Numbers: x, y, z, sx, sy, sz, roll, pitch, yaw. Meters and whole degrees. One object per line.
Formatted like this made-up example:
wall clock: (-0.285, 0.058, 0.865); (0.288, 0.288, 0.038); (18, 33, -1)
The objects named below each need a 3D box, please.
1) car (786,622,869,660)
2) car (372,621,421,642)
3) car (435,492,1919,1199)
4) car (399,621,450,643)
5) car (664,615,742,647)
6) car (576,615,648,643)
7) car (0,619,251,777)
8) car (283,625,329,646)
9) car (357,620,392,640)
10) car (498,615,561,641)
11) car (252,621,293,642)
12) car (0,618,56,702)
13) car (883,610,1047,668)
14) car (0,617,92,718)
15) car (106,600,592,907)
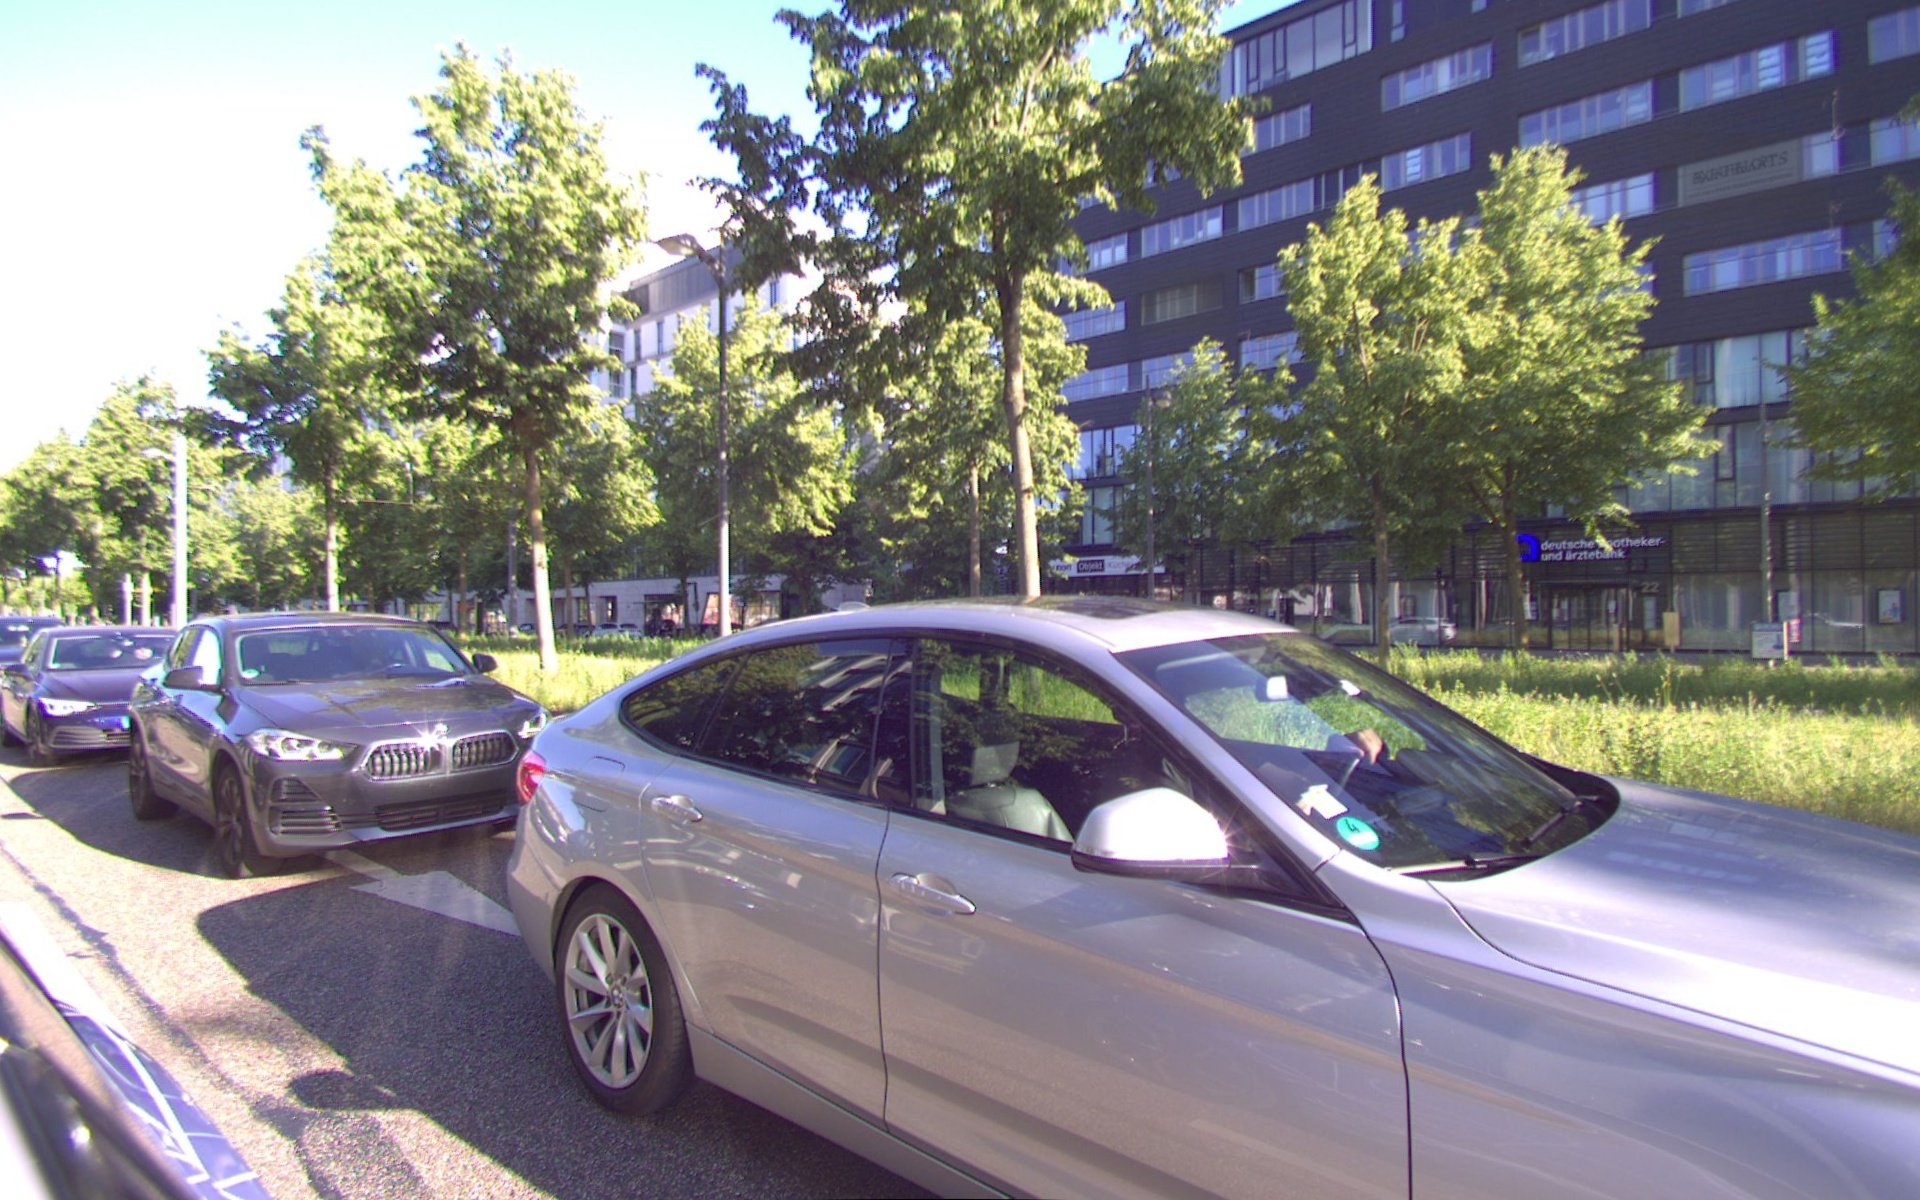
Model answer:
car: (-6.493, 1.956, 49.359); (3.998, 1.762, 1.834); (-1, -1, 41)
car: (-47.357, 2.630, 85.003); (4.788, 1.711, 1.986); (-1, -1, 40)
car: (0.514, 0.663, 2.741); (4.739, 1.500, 1.790); (-1, -1, 40)
car: (-42.972, 2.557, 81.201); (4.788, 1.711, 1.986); (-1, -1, 40)
car: (-14.329, 1.711, 56.333); (4.790, 1.697, 1.834); (-1, -1, 41)
car: (-21.748, 1.802, 63.234); (4.785, 1.711, 1.988); (-1, -1, 38)
car: (-9.787, 0.977, 11.629); (4.253, 1.465, 1.789); (-1, -1, 42)
car: (-45.562, 2.434, 70.473); (3.998, 1.403, 1.644); (-1, -1, 41)
car: (-51.014, 2.619, 88.155); (3.741, 1.682, 1.581); (-1, -1, 41)
car: (-29.720, 1.912, 69.808); (4.785, 1.711, 1.988); (-1, -1, 38)
car: (-60.272, 2.775, 88.749); (4.790, 1.742, 1.834); (-1, -1, 41)
car: (-21.588, 1.273, 22.175); (4.788, 1.711, 1.986); (-1, -1, 40)
car: (0.073, 1.102, 29.315); (4.733, 1.549, 1.834); (-1, -1, 41)
car: (-16.746, 1.122, 17.785); (4.164, 1.602, 1.788); (-1, -1, 42)
car: (-4.434, 0.809, 7.085); (4.027, 1.534, 1.789); (-1, -1, 41)
